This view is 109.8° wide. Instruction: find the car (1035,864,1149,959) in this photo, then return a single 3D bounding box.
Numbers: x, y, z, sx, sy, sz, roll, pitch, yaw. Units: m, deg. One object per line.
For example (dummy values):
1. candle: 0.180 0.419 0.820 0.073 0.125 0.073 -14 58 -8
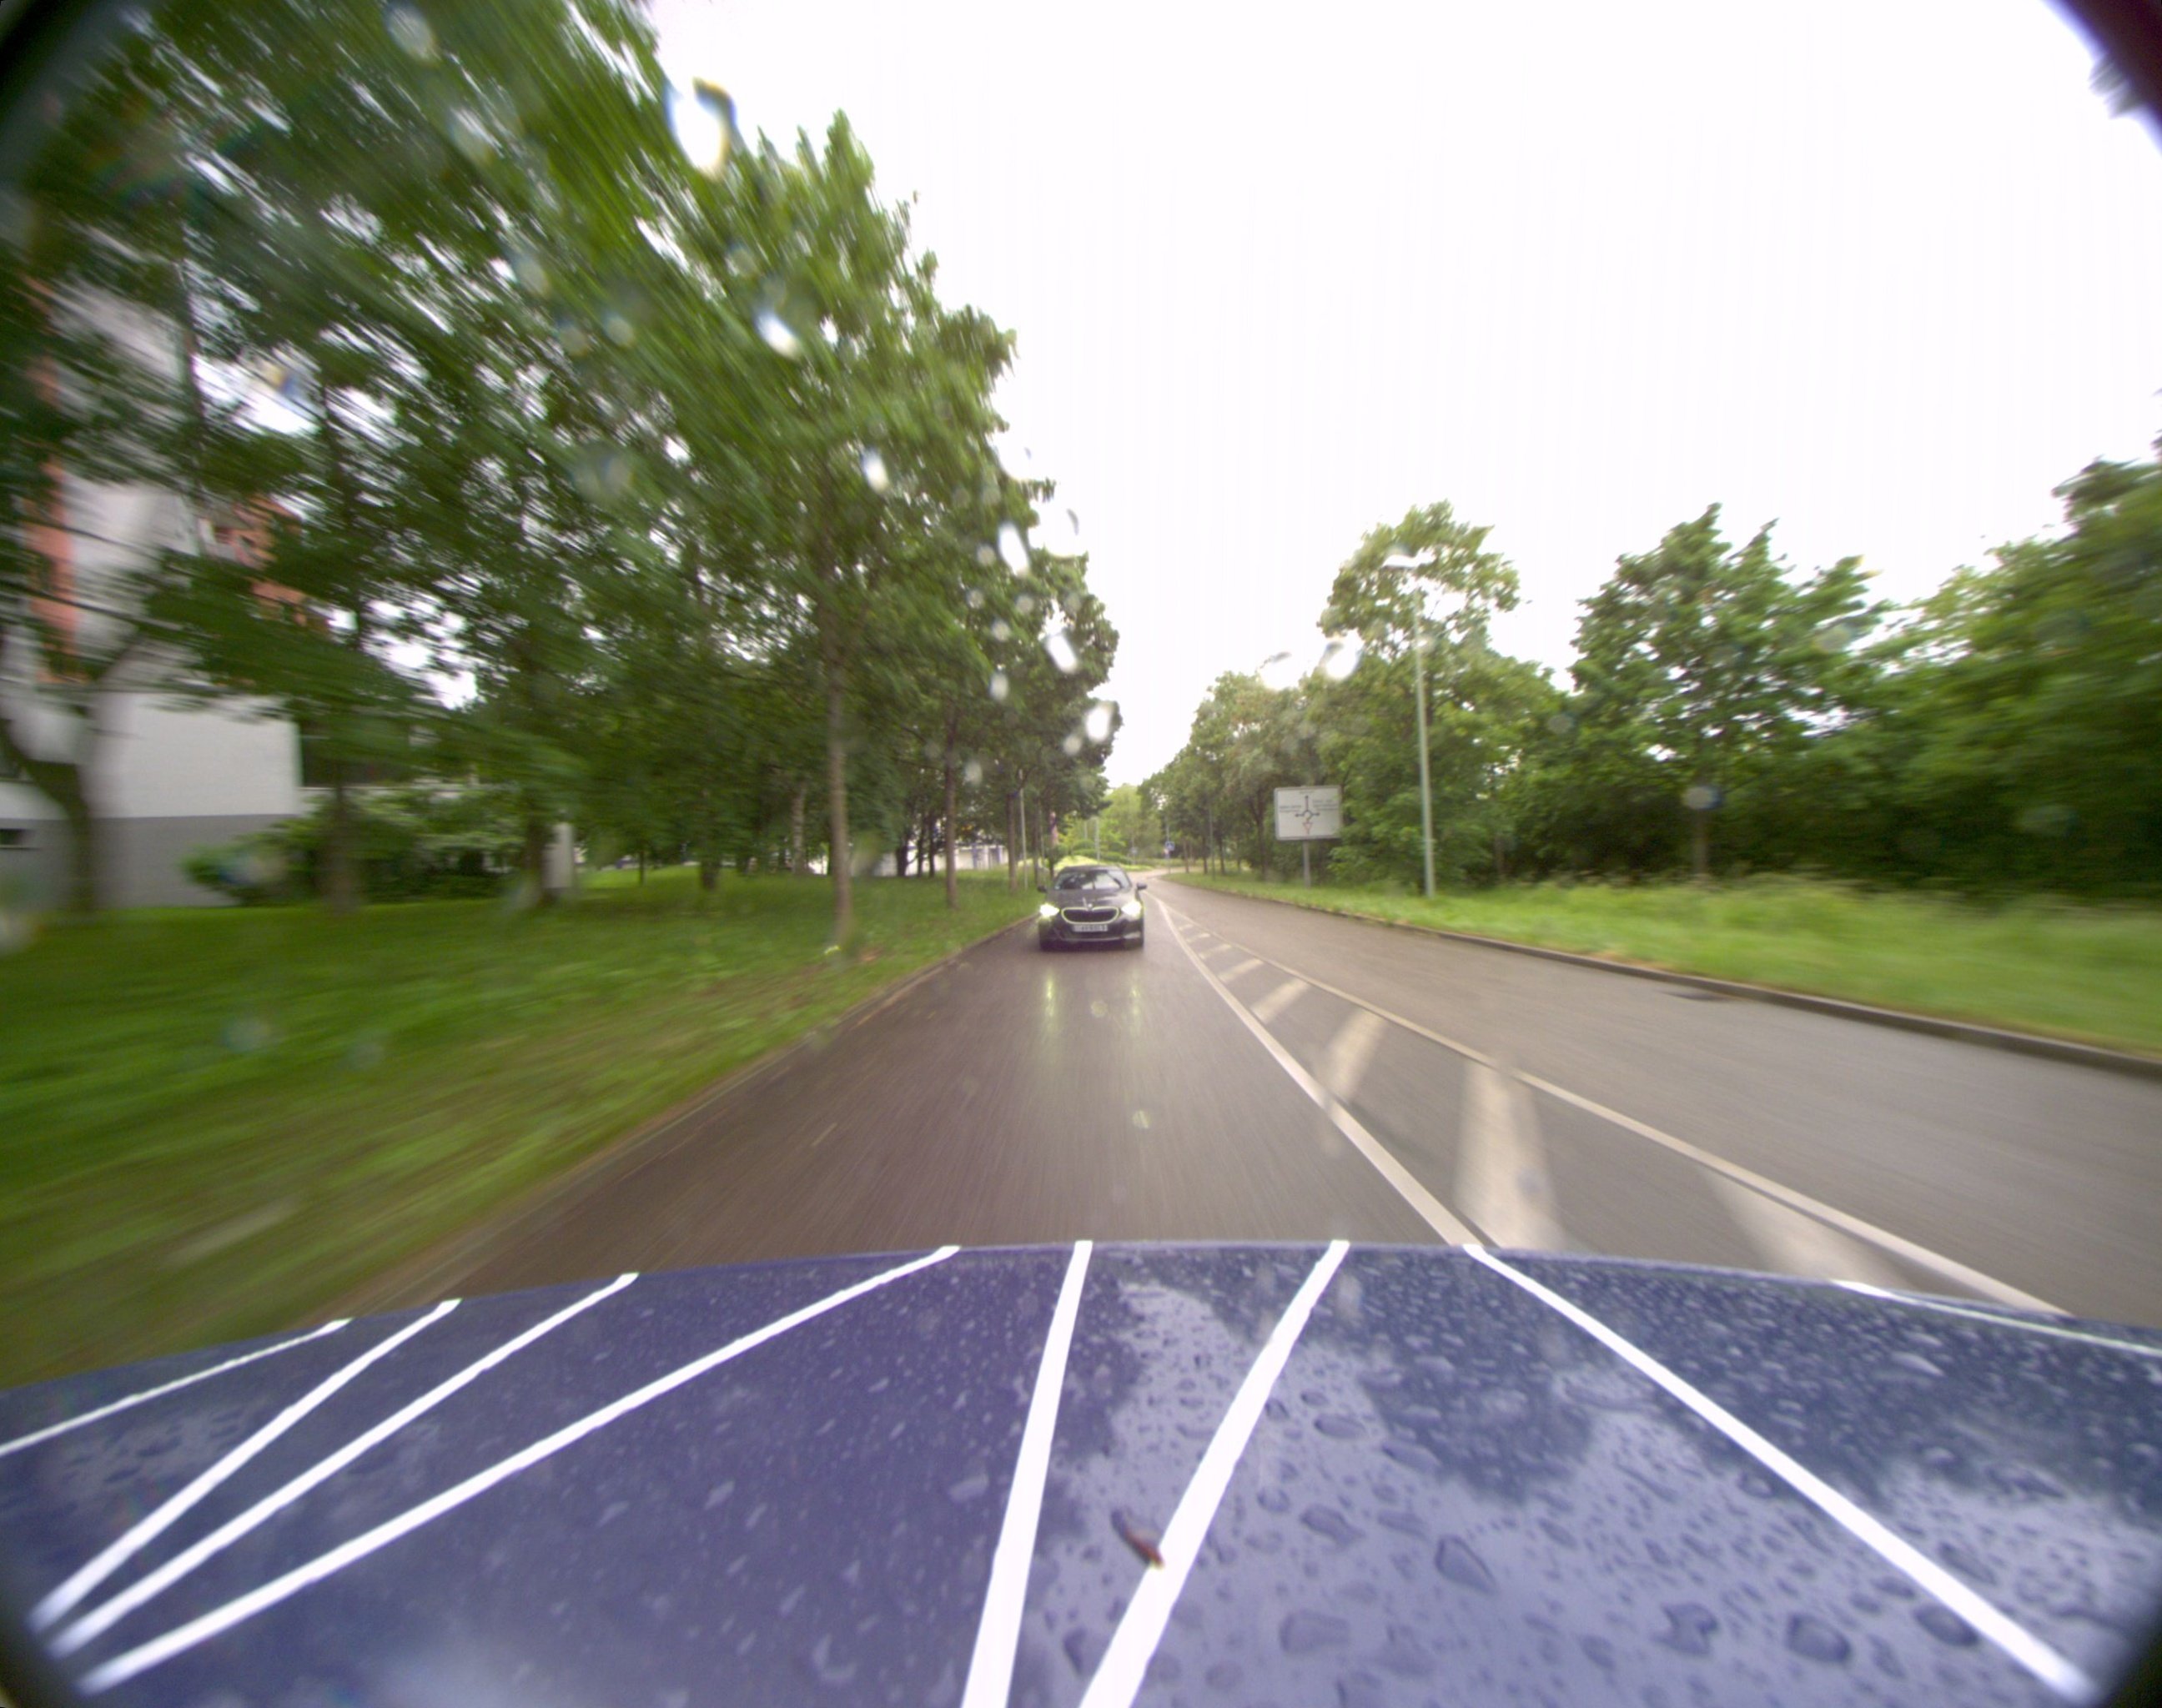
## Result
1. car: 0.253 0.993 14.785 1.845 1.471 4.000 -3 0 2
